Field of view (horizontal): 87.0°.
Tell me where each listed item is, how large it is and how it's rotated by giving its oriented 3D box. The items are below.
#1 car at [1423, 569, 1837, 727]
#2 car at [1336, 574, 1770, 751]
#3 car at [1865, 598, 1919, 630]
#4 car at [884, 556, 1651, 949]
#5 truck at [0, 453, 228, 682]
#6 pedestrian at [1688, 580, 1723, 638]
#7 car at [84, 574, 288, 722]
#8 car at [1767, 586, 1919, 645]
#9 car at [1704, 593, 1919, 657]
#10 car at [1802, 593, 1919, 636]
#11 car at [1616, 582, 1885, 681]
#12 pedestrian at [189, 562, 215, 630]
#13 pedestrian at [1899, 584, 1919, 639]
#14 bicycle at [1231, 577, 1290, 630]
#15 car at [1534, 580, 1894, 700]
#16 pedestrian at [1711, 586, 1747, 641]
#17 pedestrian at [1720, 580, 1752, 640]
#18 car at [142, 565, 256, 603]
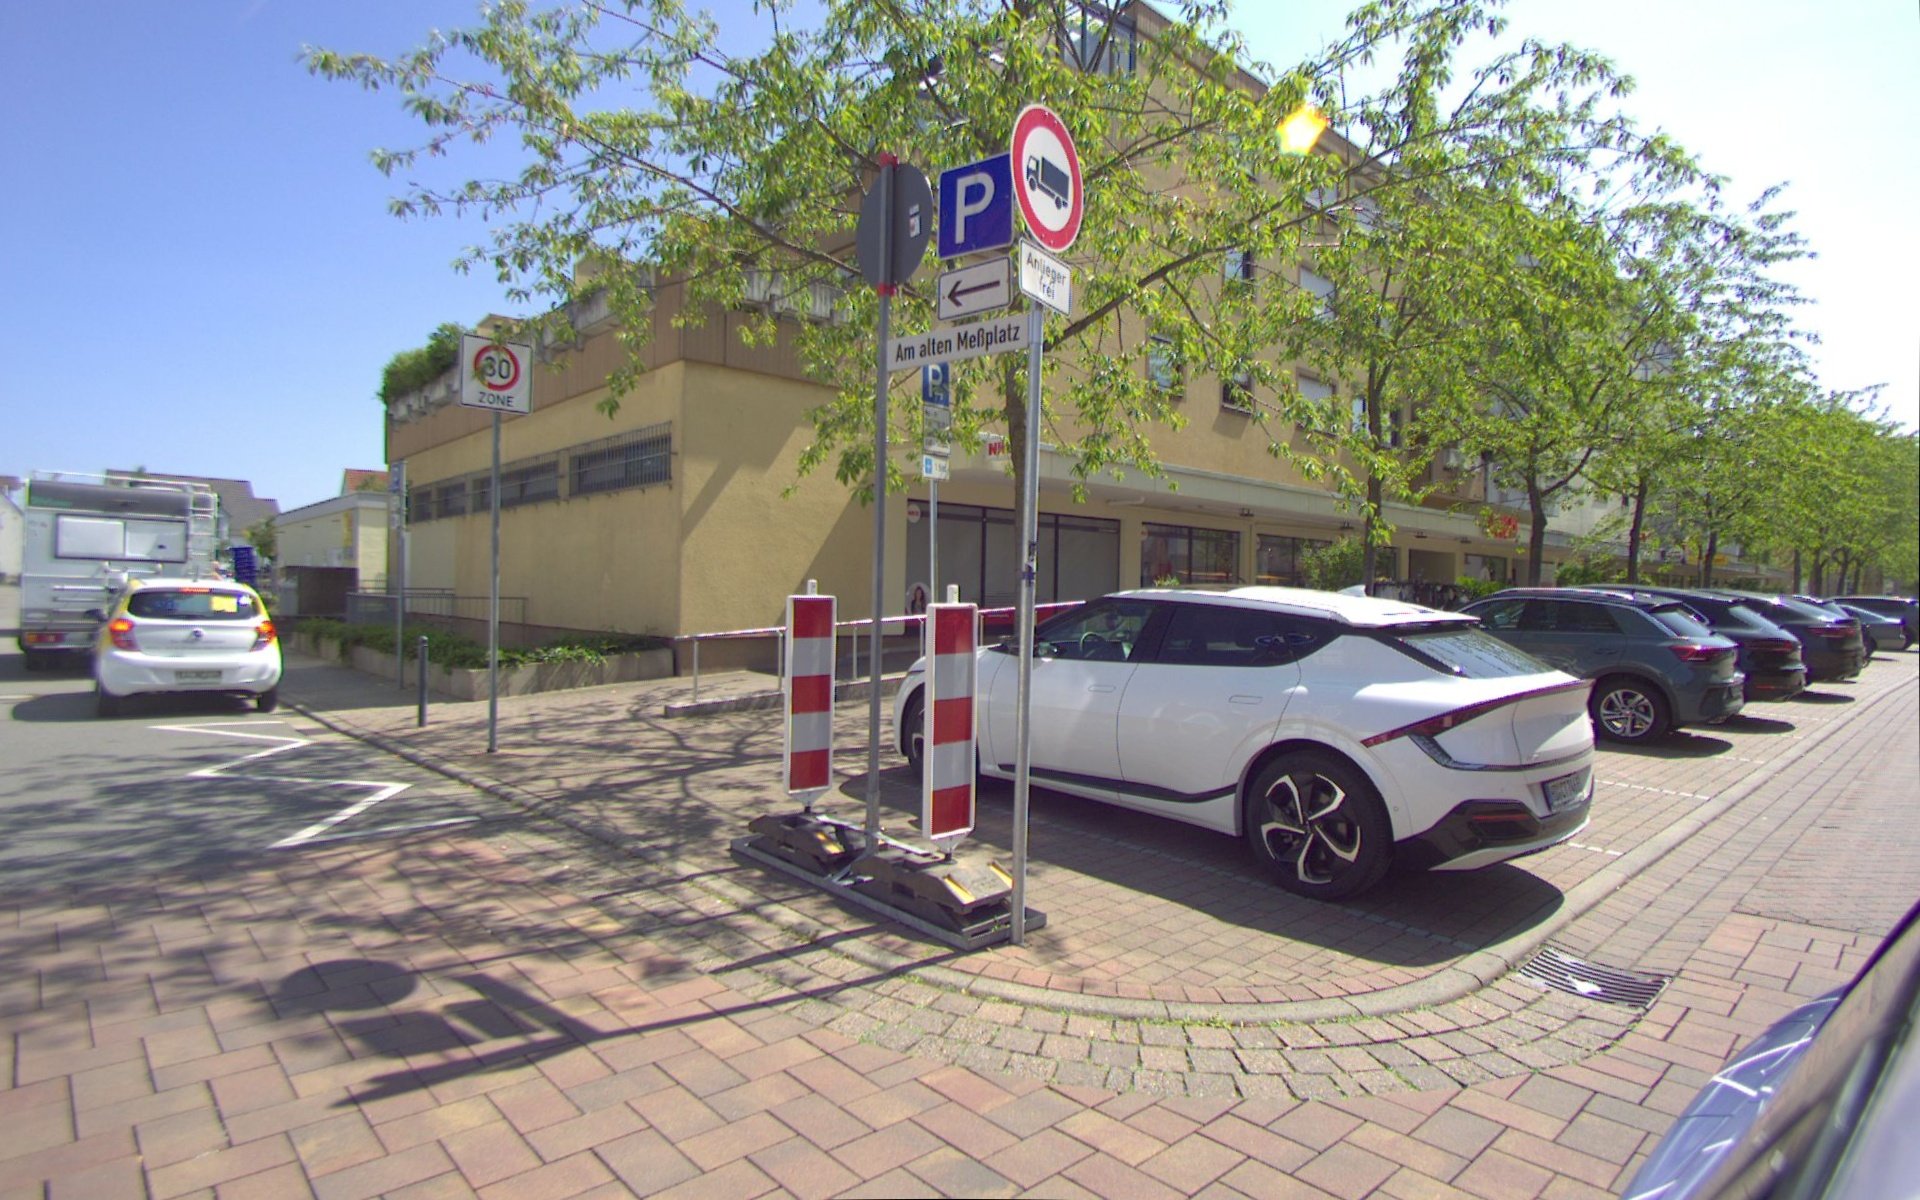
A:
[{"bbox_3d":[8.787,0.488,13.535,1.968,1.702,4.283,0,2,-44],"label":"car"},{"bbox_3d":[6.670,0.558,11.696,1.793,1.552,3.949,0,3,-43],"label":"car"},{"bbox_3d":[45.295,0.670,47.955,1.435,1.407,3.399,0,2,-42],"label":"car"},{"bbox_3d":[1.578,0.579,6.537,1.758,1.595,4.448,1,2,-42],"label":"car"},{"bbox_3d":[-13.967,-0.486,16.702,2.500,3.043,6.396,0,1,-41],"label":"truck"},{"bbox_3d":[23.205,0.278,31.508,0.621,1.795,0.685,1,0,10],"label":"pedestrian"},{"bbox_3d":[-9.318,0.462,12.078,1.626,1.470,3.620,1,0,-42],"label":"car"},{"bbox_3d":[28.173,0.459,31.722,1.727,1.638,4.249,0,2,-43],"label":"car"},{"bbox_3d":[23.471,0.634,28.000,4.349,1.481,1.871,3,2,29],"label":"car"},{"bbox_3d":[35.952,0.542,39.482,1.776,1.563,4.582,0,1,-42],"label":"car"},{"bbox_3d":[15.808,0.546,20.387,1.653,1.631,4.032,0,3,-43],"label":"car"},{"bbox_3d":[-19.708,-0.105,26.318,0.492,1.753,0.760,1,0,-39],"label":"pedestrian"},{"bbox_3d":[31.806,0.384,33.593,0.854,1.803,0.760,0,1,-36],"label":"pedestrian"},{"bbox_3d":[6.714,0.074,22.574,1.743,1.138,0.413,-1,0,-41],"label":"bicycle"},{"bbox_3d":[12.442,0.548,16.976,1.817,1.608,4.518,1,2,-40],"label":"car"},{"bbox_3d":[24.522,0.421,32.275,0.634,1.752,0.617,0,0,-8],"label":"pedestrian"},{"bbox_3d":[24.013,0.298,31.307,0.598,1.819,0.624,1,0,19],"label":"pedestrian"},{"bbox_3d":[-33.745,-0.703,44.942,1.652,1.596,3.875,0,0,43],"label":"car"}]
